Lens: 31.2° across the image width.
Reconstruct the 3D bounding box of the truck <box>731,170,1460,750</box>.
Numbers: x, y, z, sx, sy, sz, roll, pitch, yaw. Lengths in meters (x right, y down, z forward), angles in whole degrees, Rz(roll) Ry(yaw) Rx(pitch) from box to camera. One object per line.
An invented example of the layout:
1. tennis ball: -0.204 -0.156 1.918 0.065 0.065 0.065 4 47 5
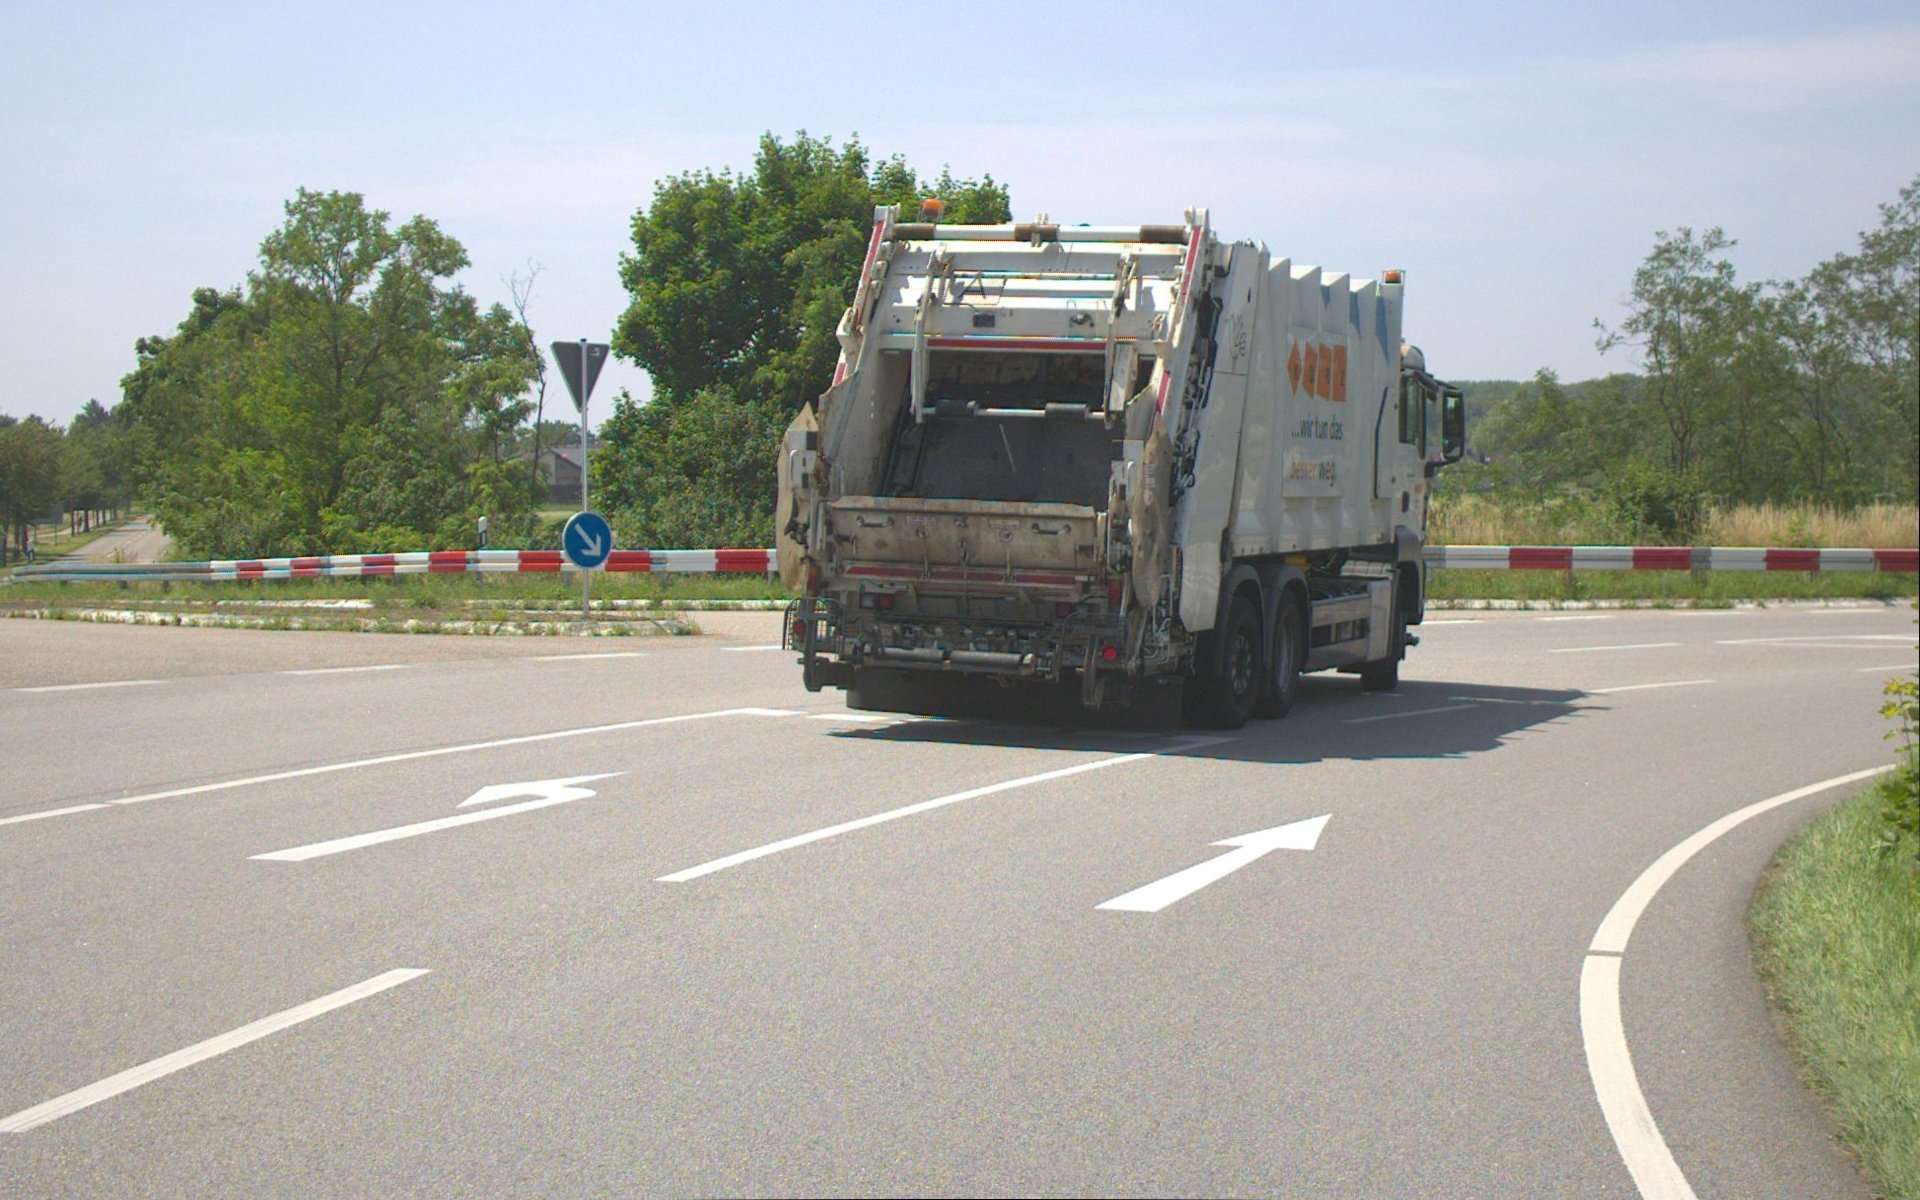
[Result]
1. truck: 1.496 -1.080 26.836 2.816 3.656 9.939 3 2 19
